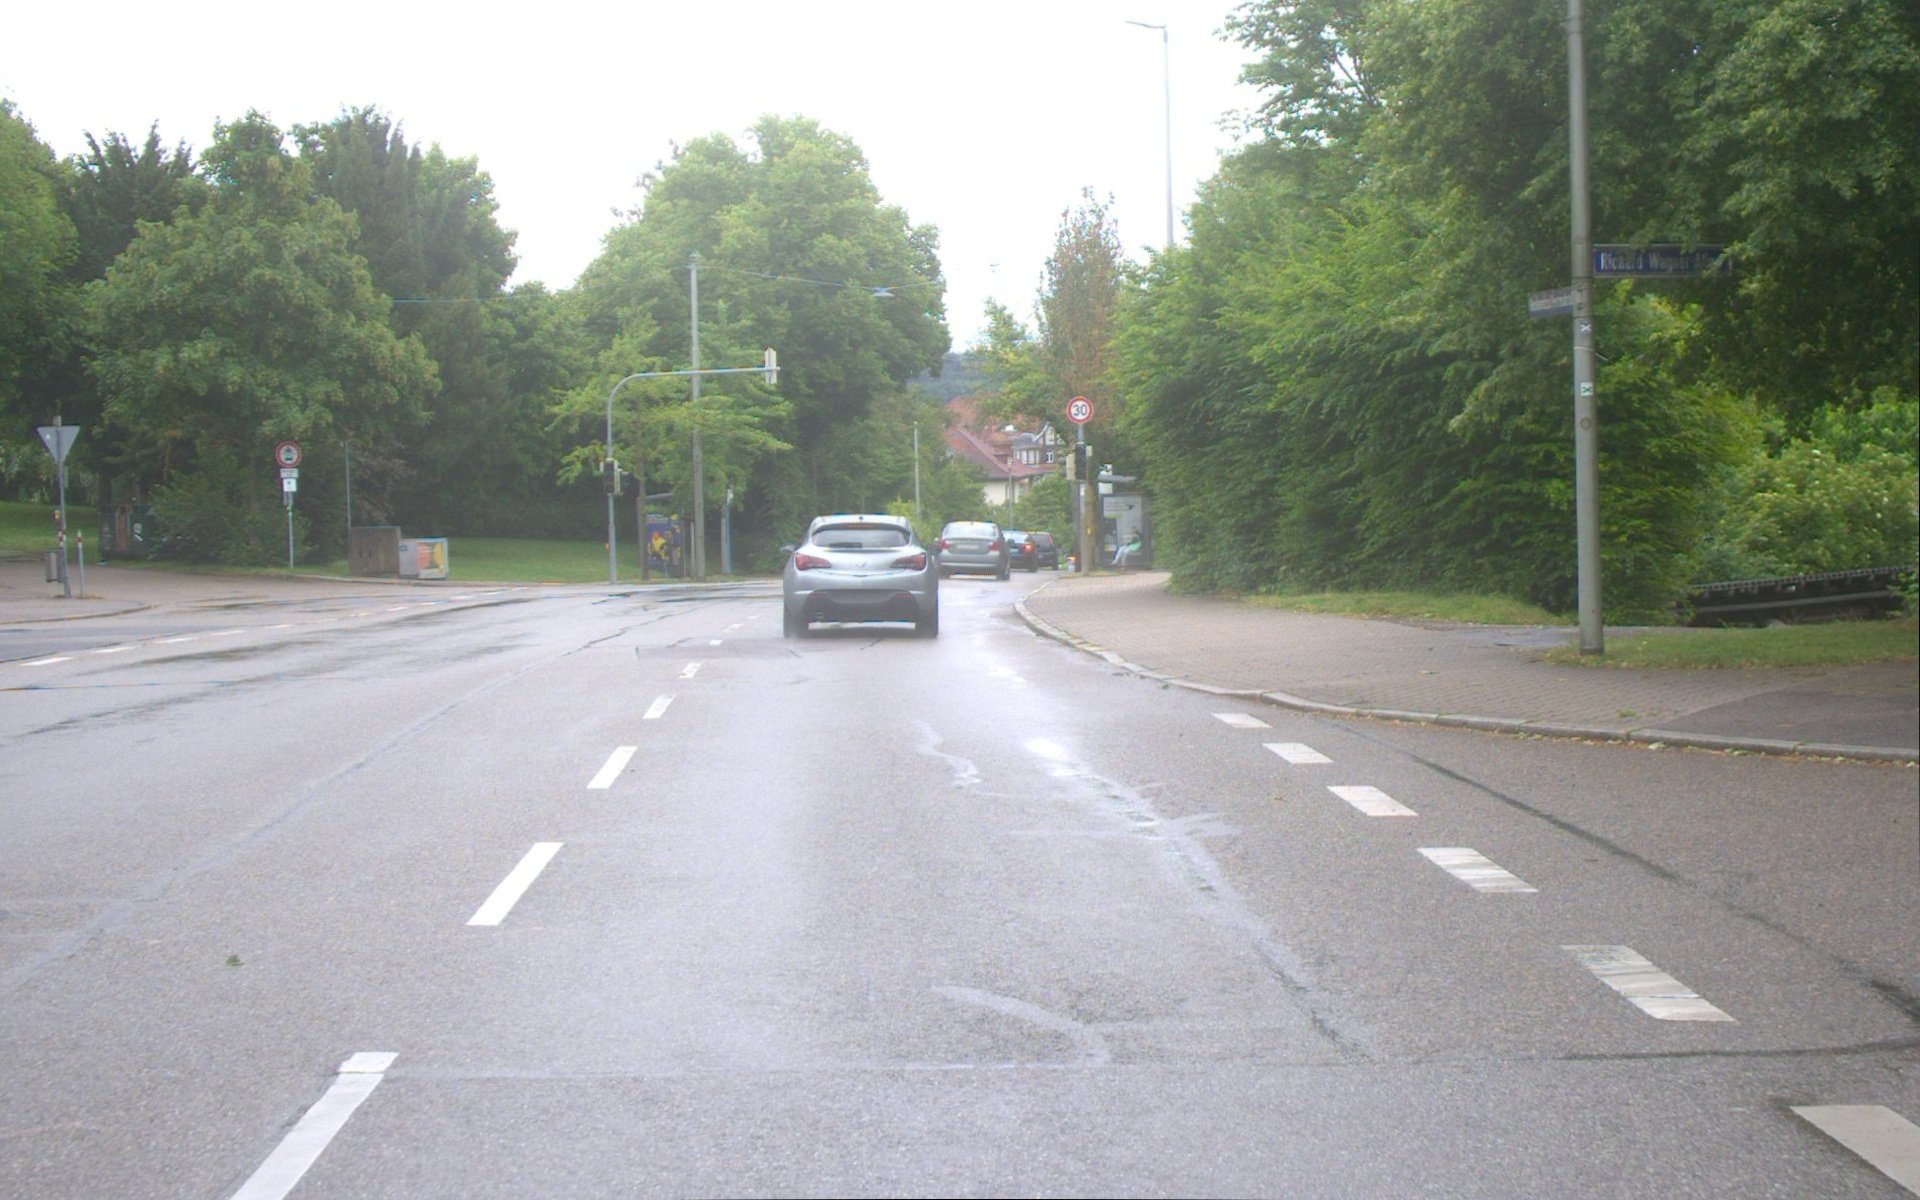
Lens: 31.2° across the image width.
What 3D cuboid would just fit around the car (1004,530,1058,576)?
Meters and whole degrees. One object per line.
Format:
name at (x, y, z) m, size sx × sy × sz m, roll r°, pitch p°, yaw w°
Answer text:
car at (2.418, -1.594, 116.271) m, size 1.721 × 1.459 × 4.000 m, roll 2°, pitch 1°, yaw 2°

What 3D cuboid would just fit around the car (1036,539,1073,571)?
car at (4.540, -2.150, 165.356) m, size 1.721 × 1.459 × 4.000 m, roll 2°, pitch 1°, yaw 2°

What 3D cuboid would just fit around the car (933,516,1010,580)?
car at (0.293, -1.258, 83.870) m, size 1.721 × 1.459 × 4.000 m, roll 2°, pitch 1°, yaw 2°

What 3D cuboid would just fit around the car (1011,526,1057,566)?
car at (2.878, -2.085, 133.300) m, size 1.721 × 1.459 × 4.000 m, roll 2°, pitch 1°, yaw 2°

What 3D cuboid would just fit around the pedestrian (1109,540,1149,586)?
pedestrian at (5.146, -1.134, 104.460) m, size 1.074 × 1.351 × 0.918 m, roll -2°, pitch 0°, yaw 10°

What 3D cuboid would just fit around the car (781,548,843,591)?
car at (-5.075, -1.075, 118.352) m, size 1.661 × 1.302 × 4.083 m, roll -3°, pitch 2°, yaw 3°

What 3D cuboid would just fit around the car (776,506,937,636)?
car at (-1.204, -0.386, 41.489) m, size 1.754 × 1.459 × 4.000 m, roll 1°, pitch 1°, yaw 1°
